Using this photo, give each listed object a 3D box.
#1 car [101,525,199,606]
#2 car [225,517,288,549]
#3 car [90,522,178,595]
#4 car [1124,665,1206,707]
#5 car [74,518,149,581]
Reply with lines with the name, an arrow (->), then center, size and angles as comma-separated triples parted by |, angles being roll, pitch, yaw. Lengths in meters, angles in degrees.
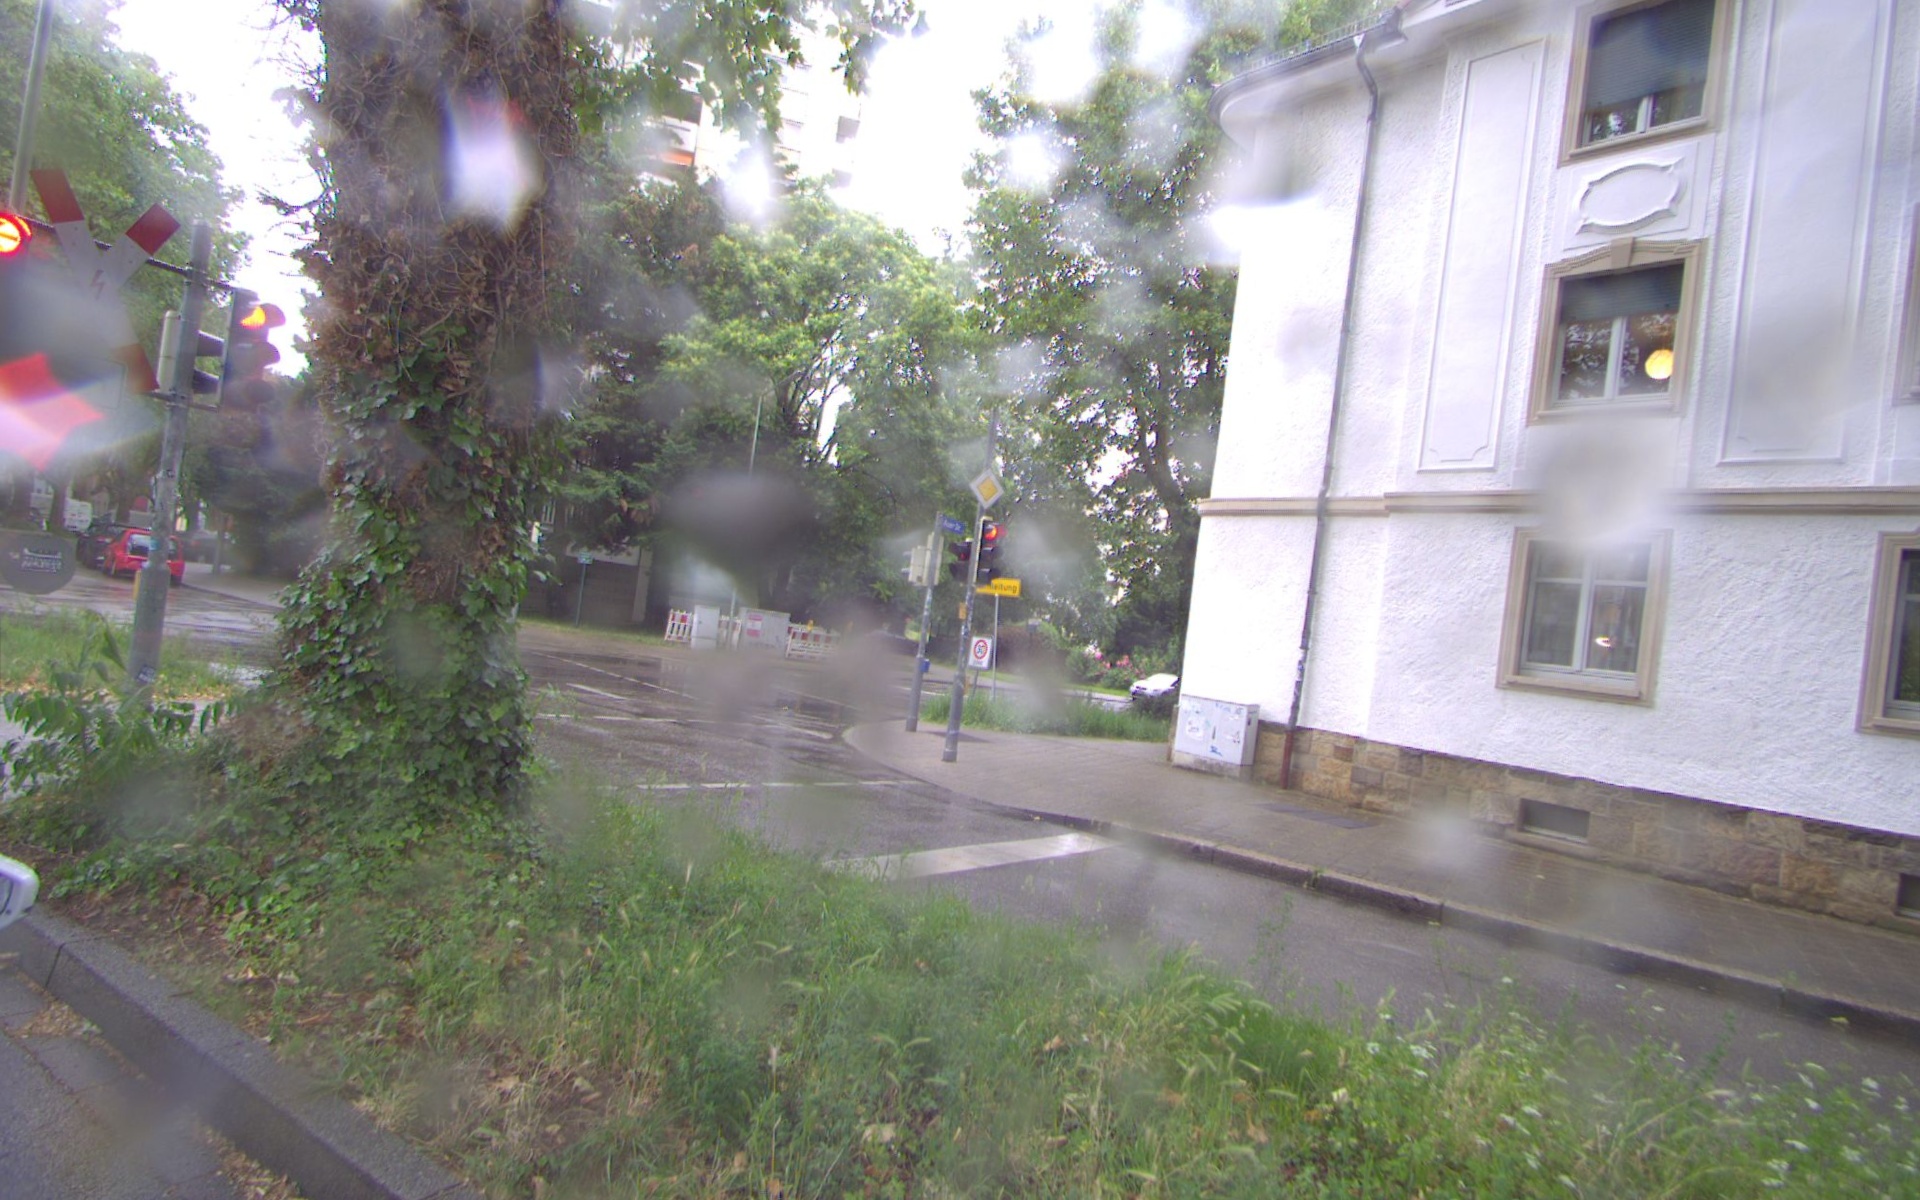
car -> -24.795, -1.079, 30.740 | 1.986, 2.038, 3.953 | 7, 0, -42
car -> -57.177, -5.456, 81.830 | 3.969, 2.038, 1.689 | 7, 0, -39
car -> -27.885, -1.435, 33.919 | 1.986, 2.038, 3.953 | 7, 0, -42
car -> 9.341, 3.917, 45.705 | 3.630, 1.504, 1.704 | 8, 0, -43
car -> -32.878, -1.988, 38.956 | 1.986, 2.038, 3.953 | 7, 0, -42
